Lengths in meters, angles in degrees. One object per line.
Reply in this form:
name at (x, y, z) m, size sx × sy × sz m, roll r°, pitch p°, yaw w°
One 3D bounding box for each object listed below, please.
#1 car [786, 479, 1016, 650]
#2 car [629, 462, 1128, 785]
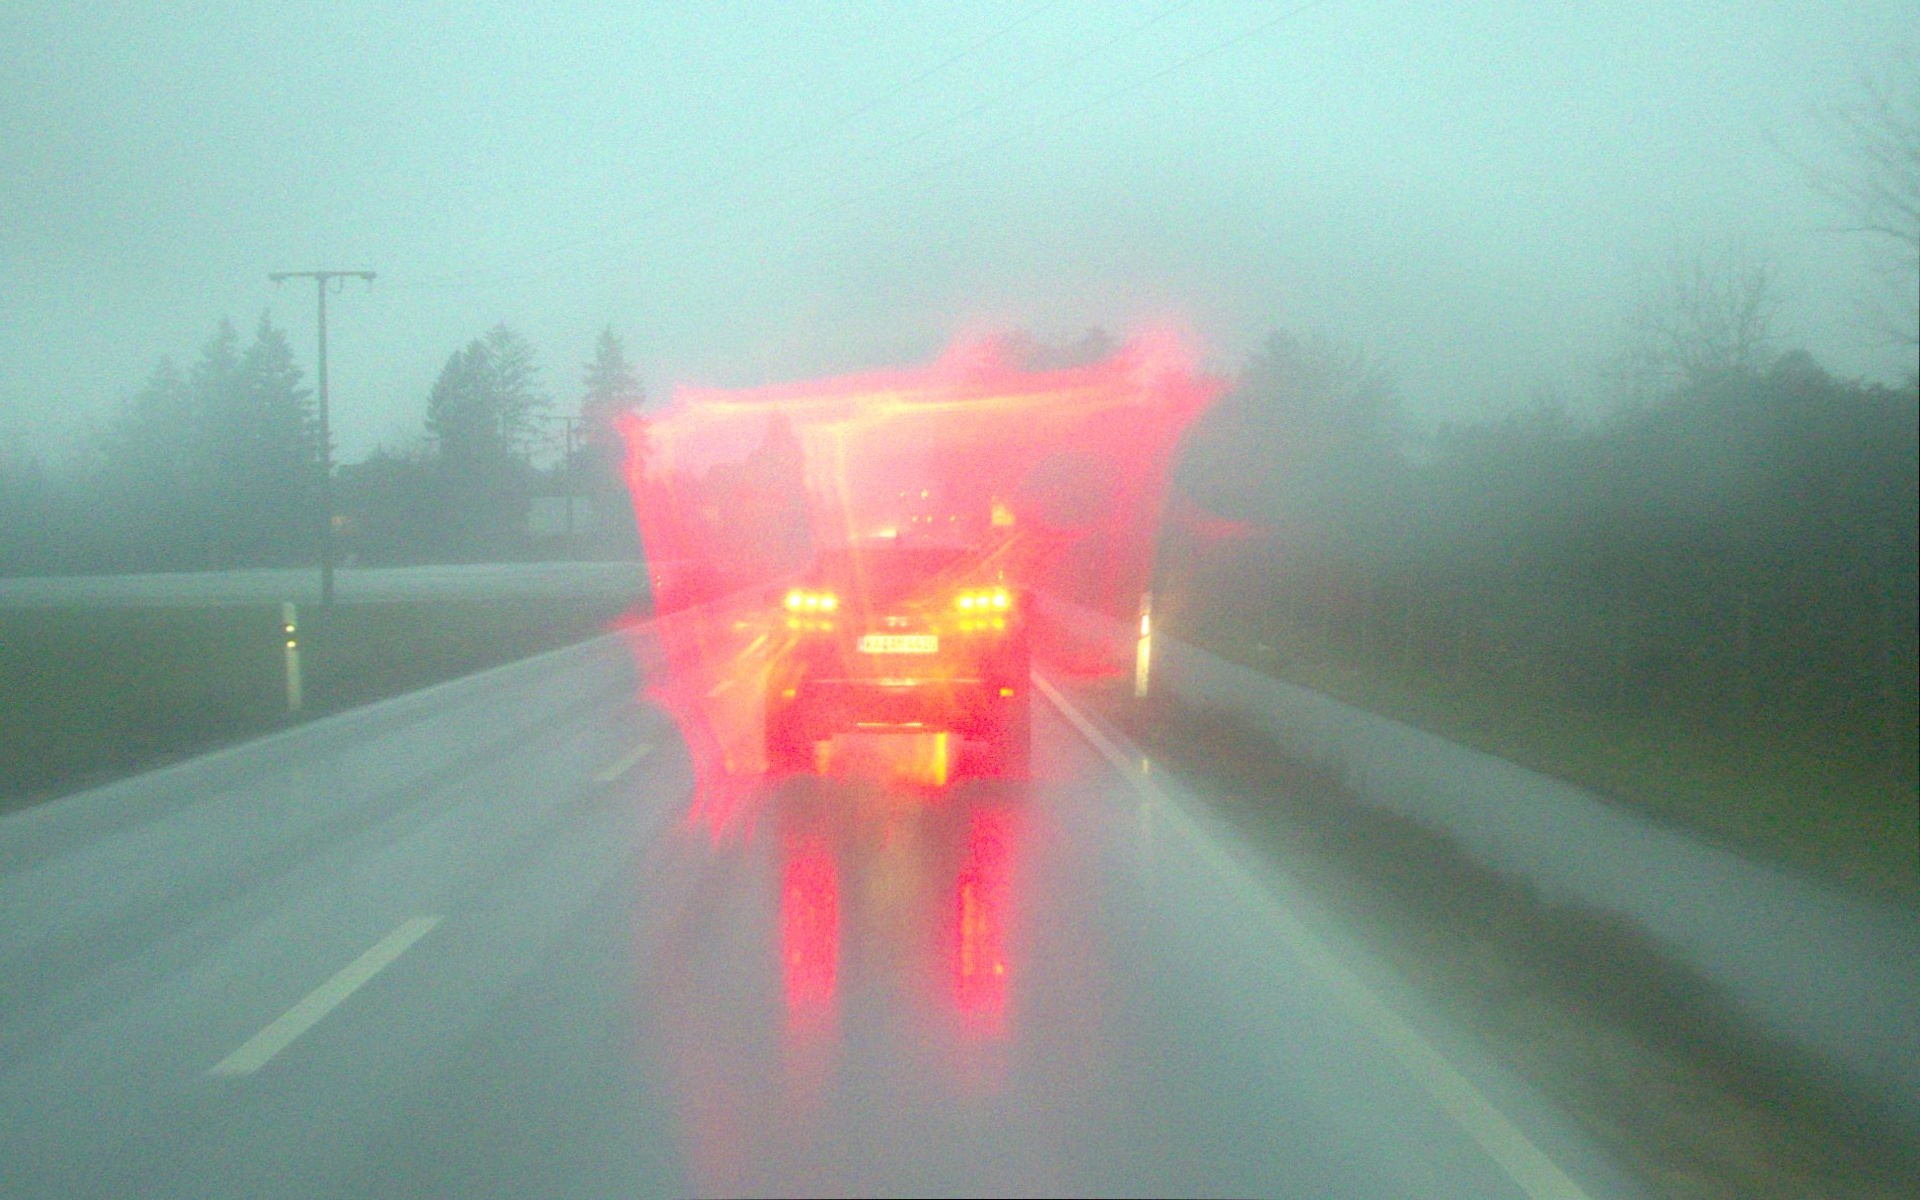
car at (-0.723, -0.503, 44.694) m, size 2.756 × 2.028 × 6.591 m, roll -1°, pitch 1°, yaw 0°
car at (-0.534, 0.073, 25.414) m, size 3.164 × 2.028 × 6.852 m, roll -1°, pitch 1°, yaw 0°
